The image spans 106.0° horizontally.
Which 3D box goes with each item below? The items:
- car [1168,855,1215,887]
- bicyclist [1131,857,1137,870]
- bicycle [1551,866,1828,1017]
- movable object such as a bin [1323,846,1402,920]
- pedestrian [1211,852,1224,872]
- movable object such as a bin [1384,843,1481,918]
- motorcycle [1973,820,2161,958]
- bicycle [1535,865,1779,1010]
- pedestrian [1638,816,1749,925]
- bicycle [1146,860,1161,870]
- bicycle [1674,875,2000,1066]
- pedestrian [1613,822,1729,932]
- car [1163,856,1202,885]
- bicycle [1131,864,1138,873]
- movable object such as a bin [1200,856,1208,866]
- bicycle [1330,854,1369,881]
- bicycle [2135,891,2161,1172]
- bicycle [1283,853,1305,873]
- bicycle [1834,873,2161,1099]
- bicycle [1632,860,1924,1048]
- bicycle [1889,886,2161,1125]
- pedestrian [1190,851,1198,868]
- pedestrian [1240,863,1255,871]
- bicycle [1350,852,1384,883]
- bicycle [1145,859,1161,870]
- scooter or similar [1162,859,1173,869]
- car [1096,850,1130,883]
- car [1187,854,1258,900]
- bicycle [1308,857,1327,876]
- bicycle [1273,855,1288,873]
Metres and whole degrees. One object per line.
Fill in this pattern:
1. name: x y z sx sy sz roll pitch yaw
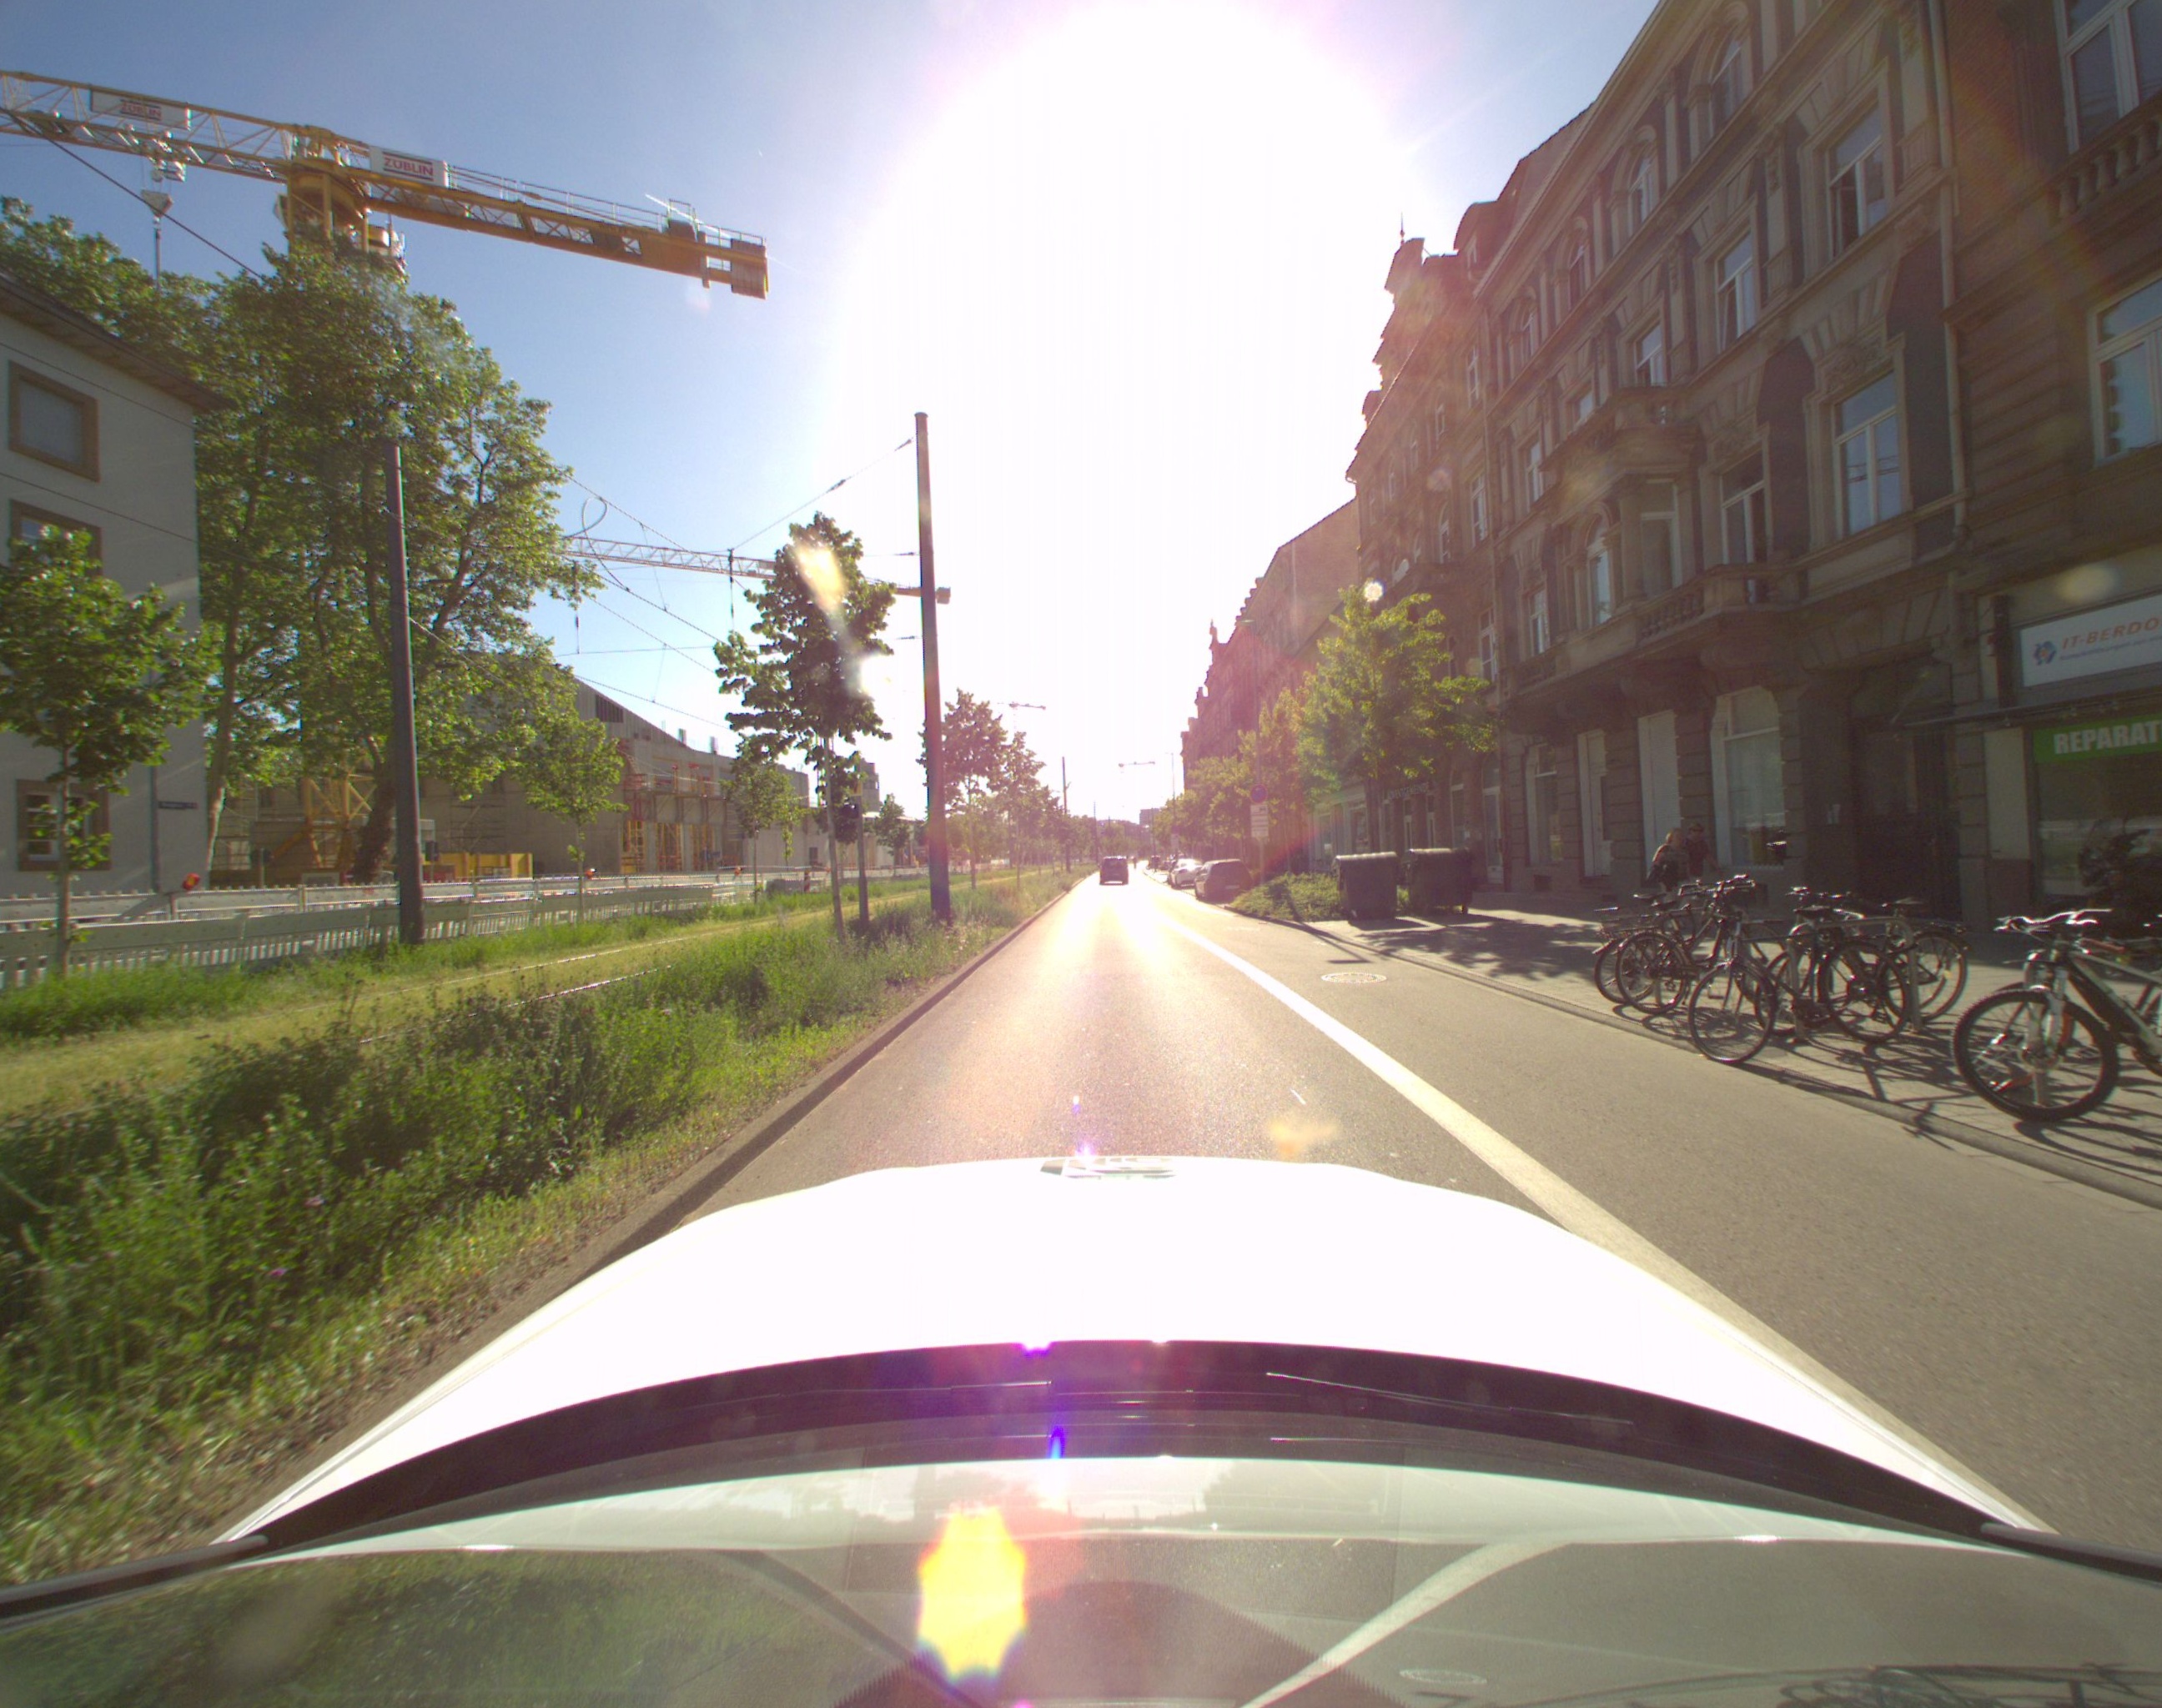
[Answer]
1. car: 5.850 0.885 43.612 1.944 1.495 5.107 -4 -1 2
2. bicyclist: 6.820 1.237 103.943 0.680 1.584 0.840 -2 -1 1
3. bicycle: 5.458 0.756 7.356 2.040 1.107 0.610 -5 -1 -5
4. movable object such as a bin: 6.178 0.601 18.002 1.264 1.463 1.647 -3 1 6
5. pedestrian: 12.118 0.722 72.150 0.992 1.731 0.866 -1 -1 1
6. movable object such as a bin: 7.774 0.579 18.144 1.368 1.495 1.750 -5 -1 3
7. motorcycle: 10.395 0.307 7.602 0.862 1.266 2.982 -3 -1 2
8. bicycle: 5.466 0.767 7.763 1.971 1.124 0.481 -6 0 -4
9. pedestrian: 9.859 0.246 13.149 0.967 1.639 0.993 -3 0 1
10. bicycle: 9.109 1.375 102.474 1.821 1.078 0.664 -5 -1 -4
11. bicycle: 5.502 0.790 5.925 2.287 1.102 0.484 -4 -1 -13
12. pedestrian: 9.060 0.338 12.552 0.947 1.566 1.080 -3 0 1
13. car: 6.234 1.037 50.341 1.877 1.569 4.221 -5 -1 1
14. bicycle: 6.822 1.825 103.809 0.698 1.091 2.278 -2 0 2
15. movable object such as a bin: 13.966 0.815 92.580 0.723 1.098 0.747 -2 0 -3
16. bicycle: 11.870 0.601 36.103 0.873 1.105 2.181 -5 -1 -1
17. bicycle: 5.454 0.703 3.298 1.861 1.179 0.373 -3 -1 -2
18. bicycle: 12.322 0.532 47.236 0.718 1.090 2.199 -3 -1 2
19. bicycle: 5.610 0.737 4.757 1.971 1.108 0.435 -4 -1 -2
20. bicycle: 5.370 0.722 6.273 2.148 1.154 0.428 -5 0 -12
21. bicycle: 5.557 0.766 4.414 1.811 1.056 0.571 -4 -1 -4
22. pedestrian: 13.295 0.656 95.821 0.814 2.014 1.046 -1 -3 2
23. pedestrian: 13.075 1.005 64.050 0.770 0.553 2.008 -3 0 2
24. bicycle: 11.584 0.548 33.042 0.745 1.201 1.801 -3 -1 2
25. bicycle: 8.917 1.287 100.944 1.875 1.233 0.499 -5 -1 -4
26. scooter or similar: 10.396 1.208 98.052 1.214 1.106 0.784 -4 0 4
27. car: 2.090 0.841 54.034 1.988 2.014 3.998 -1 -1 -1
28. car: 5.279 0.859 30.908 1.760 1.477 4.447 -5 -1 -1
29. bicycle: 12.402 0.639 42.682 0.445 0.945 2.013 -2 0 2
30. bicycle: 12.619 0.652 51.576 0.479 1.090 2.058 -3 -1 2
